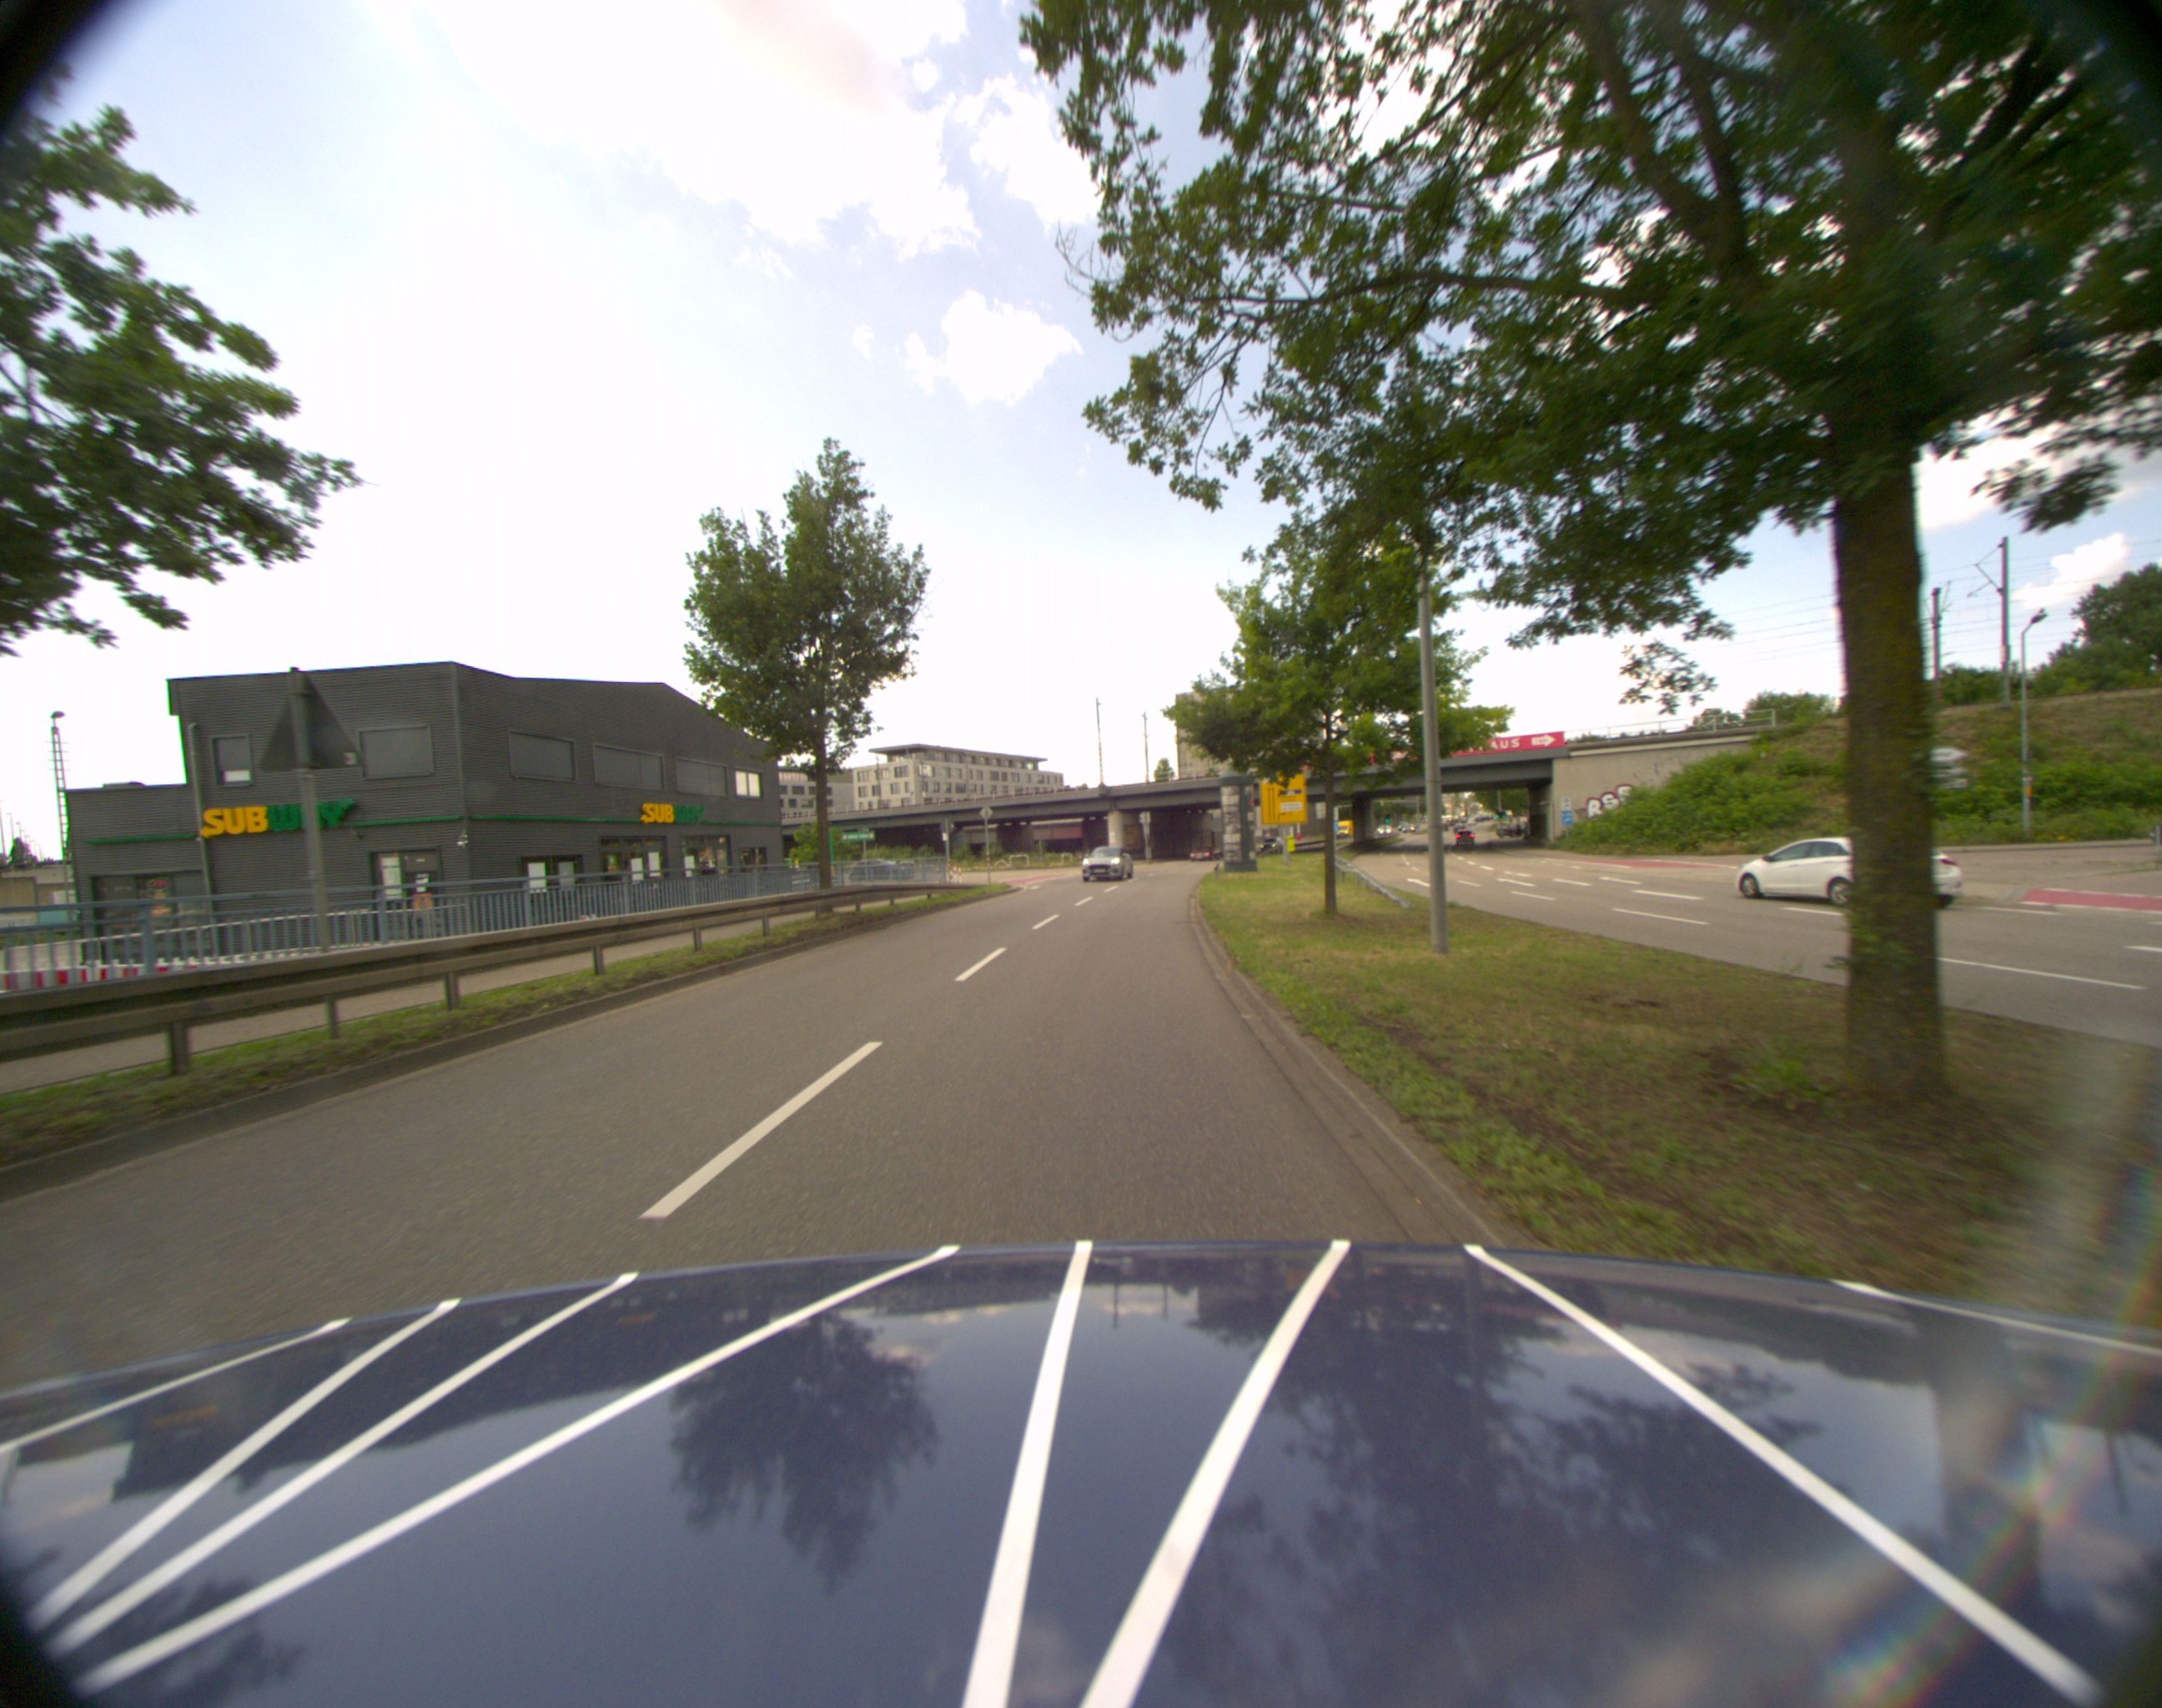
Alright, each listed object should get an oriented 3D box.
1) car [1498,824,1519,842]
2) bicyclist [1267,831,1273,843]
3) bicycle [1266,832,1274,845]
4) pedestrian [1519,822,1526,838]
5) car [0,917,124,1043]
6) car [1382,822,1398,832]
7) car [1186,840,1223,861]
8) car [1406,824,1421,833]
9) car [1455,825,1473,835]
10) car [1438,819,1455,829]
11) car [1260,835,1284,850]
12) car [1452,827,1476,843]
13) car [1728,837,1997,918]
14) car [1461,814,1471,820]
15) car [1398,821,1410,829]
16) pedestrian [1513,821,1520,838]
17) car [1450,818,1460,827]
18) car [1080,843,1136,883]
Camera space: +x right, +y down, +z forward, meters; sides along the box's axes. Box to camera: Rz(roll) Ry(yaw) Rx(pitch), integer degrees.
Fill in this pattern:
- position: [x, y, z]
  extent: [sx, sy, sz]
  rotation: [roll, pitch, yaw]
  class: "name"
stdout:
- position: [51.083, -2.505, 90.761]
  extent: [1.995, 2.002, 4.343]
  rotation: [-2, 2, 28]
  class: "car"
- position: [28.448, -2.584, 114.368]
  extent: [0.715, 1.759, 0.990]
  rotation: [-1, 3, 26]
  class: "bicyclist"
- position: [28.481, -2.357, 114.434]
  extent: [0.720, 1.764, 2.537]
  rotation: [-1, 3, 26]
  class: "bicycle"
- position: [45.168, -2.496, 77.710]
  extent: [0.554, 1.616, 0.587]
  rotation: [-2, 2, 30]
  class: "pedestrian"
- position: [-13.644, 1.559, 7.575]
  extent: [1.998, 1.351, 4.750]
  rotation: [-2, 1, 4]
  class: "car"
- position: [52.778, -4.655, 129.799]
  extent: [1.917, 1.406, 4.302]
  rotation: [-8, -1, 29]
  class: "car"
- position: [10.109, -0.310, 62.045]
  extent: [1.995, 1.548, 4.289]
  rotation: [2, 2, 22]
  class: "car"
- position: [58.407, -4.497, 133.491]
  extent: [1.995, 1.407, 4.839]
  rotation: [-3, 1, 29]
  class: "car"
- position: [61.243, -3.823, 121.505]
  extent: [1.949, 1.366, 4.006]
  rotation: [-3, 2, 34]
  class: "car"
- position: [64.801, -5.360, 134.662]
  extent: [1.994, 1.666, 4.330]
  rotation: [-1, 2, 35]
  class: "car"
- position: [21.981, -1.351, 87.477]
  extent: [1.710, 1.488, 3.656]
  rotation: [-1, 2, 29]
  class: "car"
- position: [39.117, -1.961, 77.598]
  extent: [1.754, 1.502, 4.005]
  rotation: [-2, 1, 21]
  class: "car"
- position: [16.845, 0.412, 16.779]
  extent: [1.997, 1.523, 4.334]
  rotation: [0, 2, 11]
  class: "car"
- position: [102.079, -9.765, 201.386]
  extent: [1.975, 1.381, 4.787]
  rotation: [-1, 3, 29]
  class: "car"
- position: [65.076, -5.867, 152.994]
  extent: [1.779, 1.488, 3.604]
  rotation: [-1, 2, 29]
  class: "car"
- position: [44.580, -2.498, 77.819]
  extent: [0.591, 1.671, 0.557]
  rotation: [-2, 2, 27]
  class: "pedestrian"
- position: [83.516, -7.078, 169.622]
  extent: [1.995, 1.749, 4.723]
  rotation: [-2, 2, 27]
  class: "car"
- position: [1.317, 0.366, 34.836]
  extent: [1.822, 1.565, 3.956]
  rotation: [-4, 1, 12]
  class: "car"
